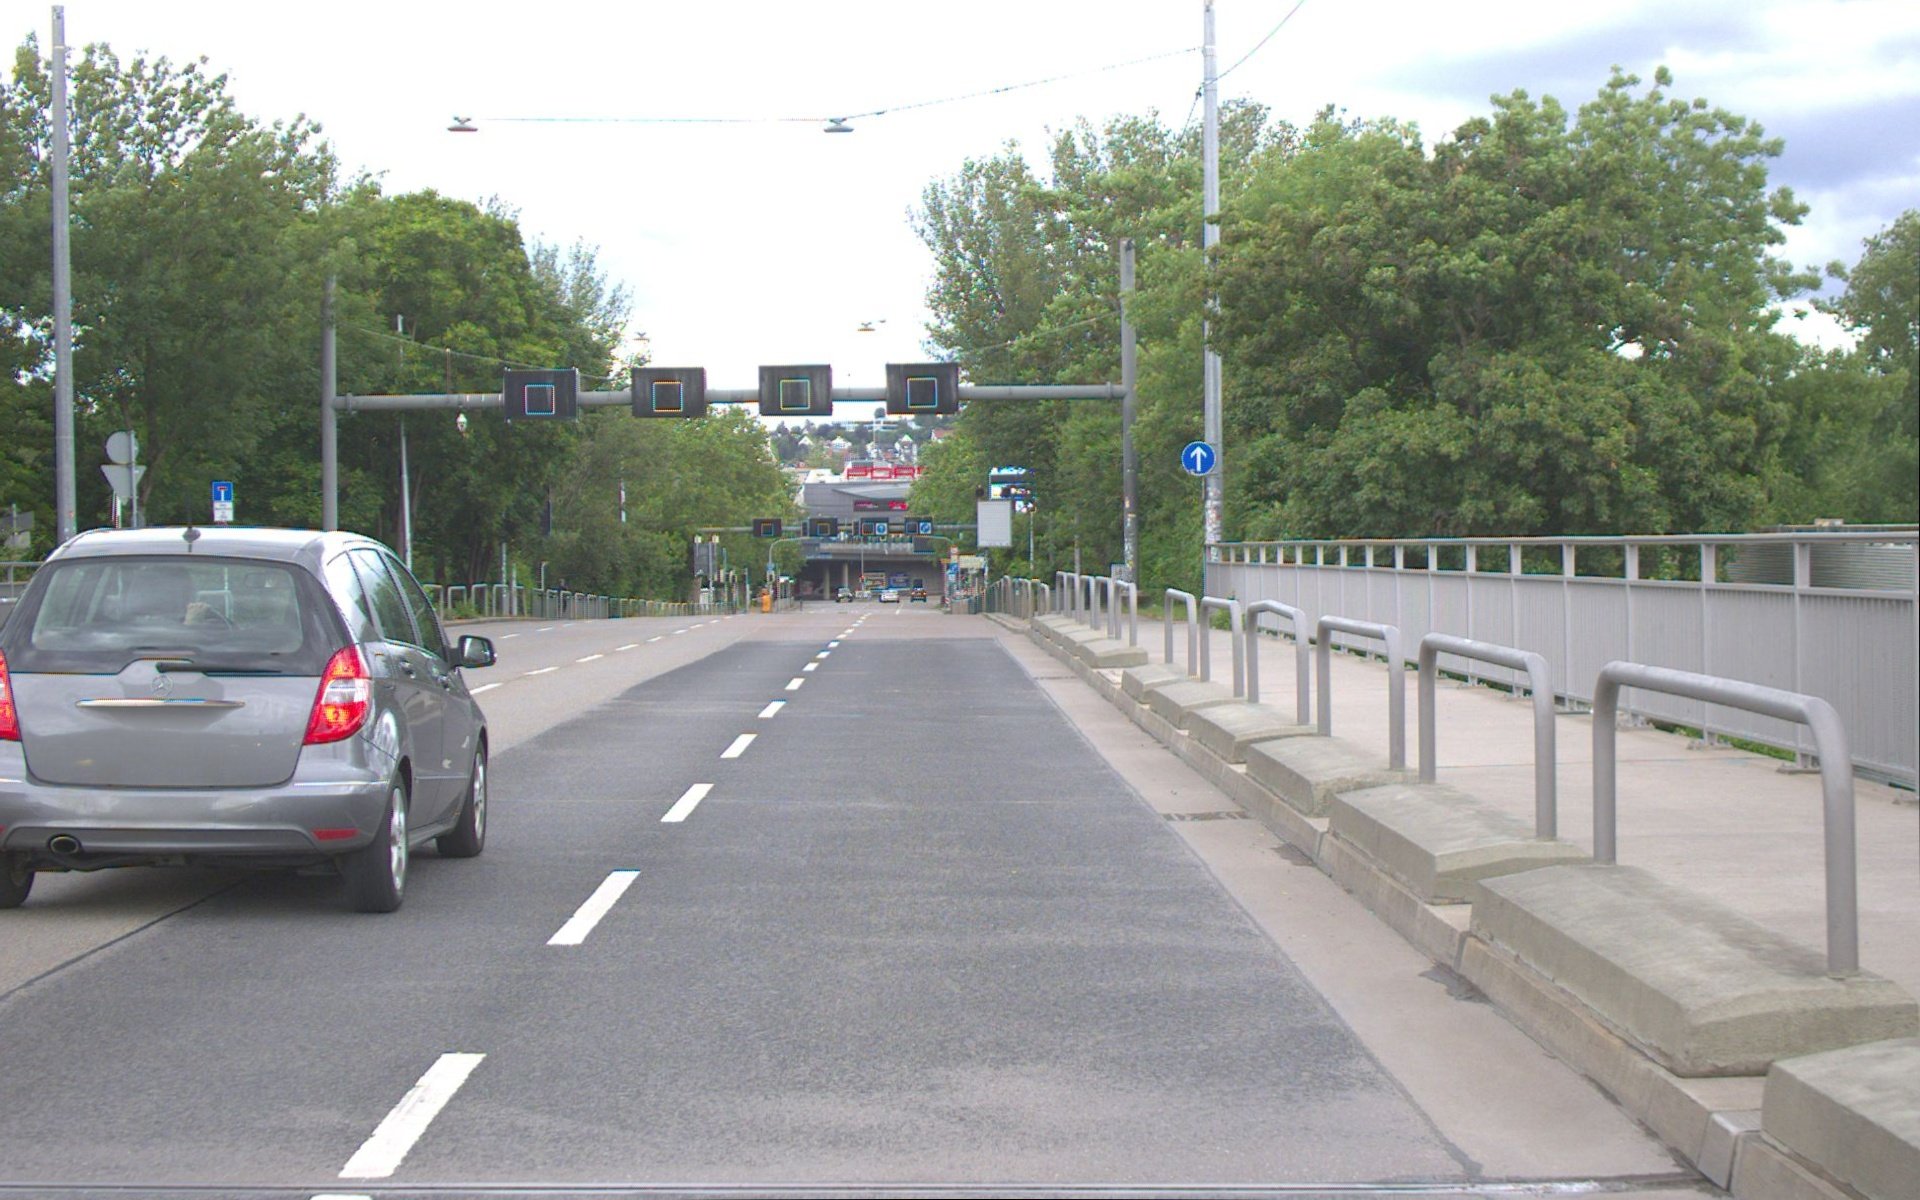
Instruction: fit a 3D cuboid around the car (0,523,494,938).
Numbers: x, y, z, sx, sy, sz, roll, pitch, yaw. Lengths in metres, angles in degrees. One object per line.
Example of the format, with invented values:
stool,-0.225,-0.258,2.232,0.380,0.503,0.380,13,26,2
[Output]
car,-3.138,0.457,15.043,1.745,1.545,3.872,0,2,-1
